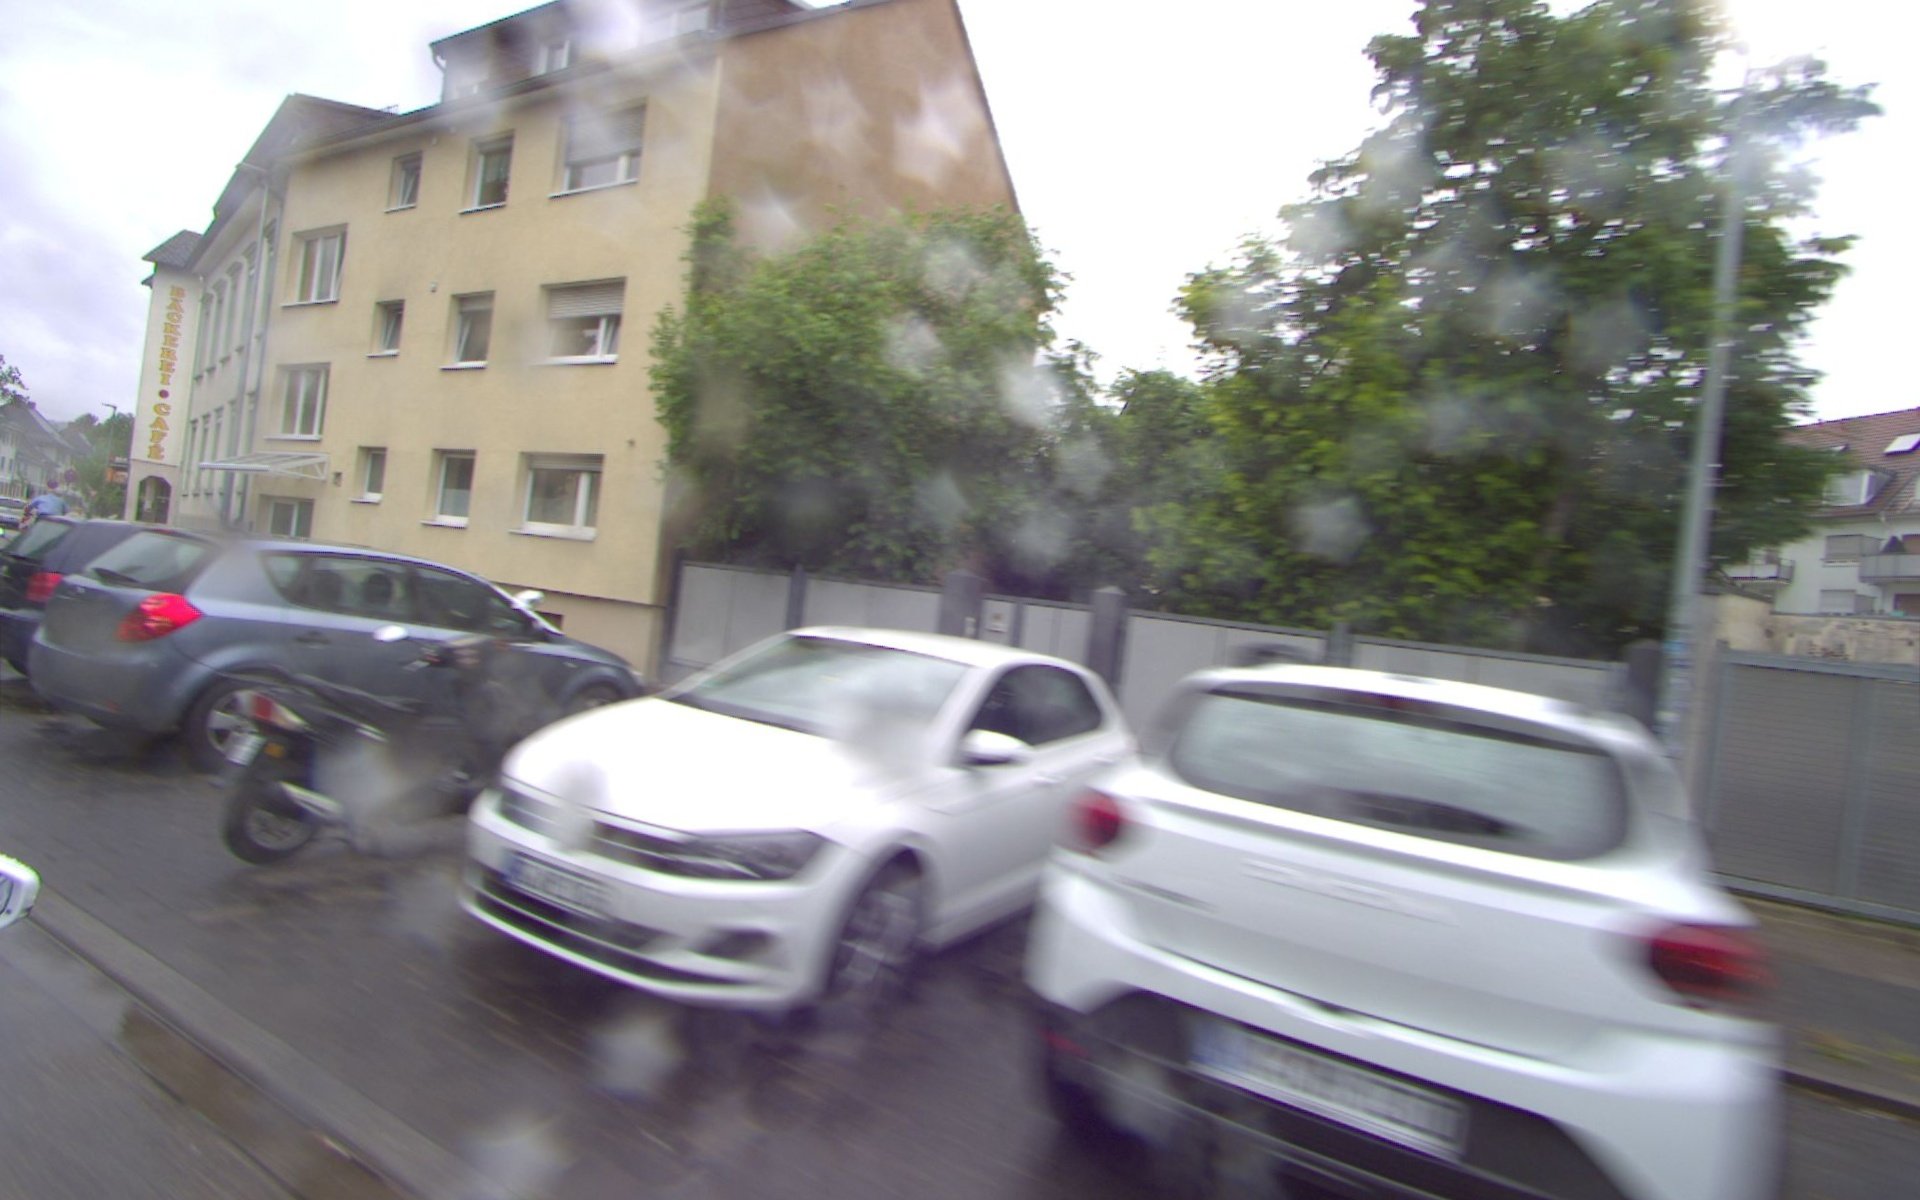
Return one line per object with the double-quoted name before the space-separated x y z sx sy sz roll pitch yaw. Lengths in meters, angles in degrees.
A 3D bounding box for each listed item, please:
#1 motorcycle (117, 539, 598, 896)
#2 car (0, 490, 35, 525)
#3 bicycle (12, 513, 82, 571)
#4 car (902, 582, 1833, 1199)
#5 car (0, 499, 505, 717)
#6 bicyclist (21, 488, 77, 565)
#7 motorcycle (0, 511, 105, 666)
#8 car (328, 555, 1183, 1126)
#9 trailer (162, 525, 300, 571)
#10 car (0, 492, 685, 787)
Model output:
"motorcycle" -2.830 0.545 4.947 0.723 1.389 1.766 6 -2 32
"car" -45.758 -4.484 48.348 4.123 1.450 1.631 5 -2 45
"bicycle" -20.311 -1.298 22.360 1.941 1.072 0.673 7 -1 36
"car" 1.668 1.041 3.750 1.664 1.633 3.921 6 -2 32
"car" -6.459 0.162 9.131 1.771 1.471 3.759 9 -1 32
"bicyclist" -20.278 -1.633 22.387 0.704 1.601 0.639 7 -1 35
"motorcycle" -8.932 -0.157 9.078 0.683 1.340 1.593 8 -1 31
"car" -0.519 0.855 4.987 1.827 1.497 3.921 6 -2 32
"trailer" -31.505 -2.228 43.647 4.480 1.246 1.814 9 -2 -26
"car" -4.368 0.365 7.633 1.902 1.471 4.061 8 -1 32
